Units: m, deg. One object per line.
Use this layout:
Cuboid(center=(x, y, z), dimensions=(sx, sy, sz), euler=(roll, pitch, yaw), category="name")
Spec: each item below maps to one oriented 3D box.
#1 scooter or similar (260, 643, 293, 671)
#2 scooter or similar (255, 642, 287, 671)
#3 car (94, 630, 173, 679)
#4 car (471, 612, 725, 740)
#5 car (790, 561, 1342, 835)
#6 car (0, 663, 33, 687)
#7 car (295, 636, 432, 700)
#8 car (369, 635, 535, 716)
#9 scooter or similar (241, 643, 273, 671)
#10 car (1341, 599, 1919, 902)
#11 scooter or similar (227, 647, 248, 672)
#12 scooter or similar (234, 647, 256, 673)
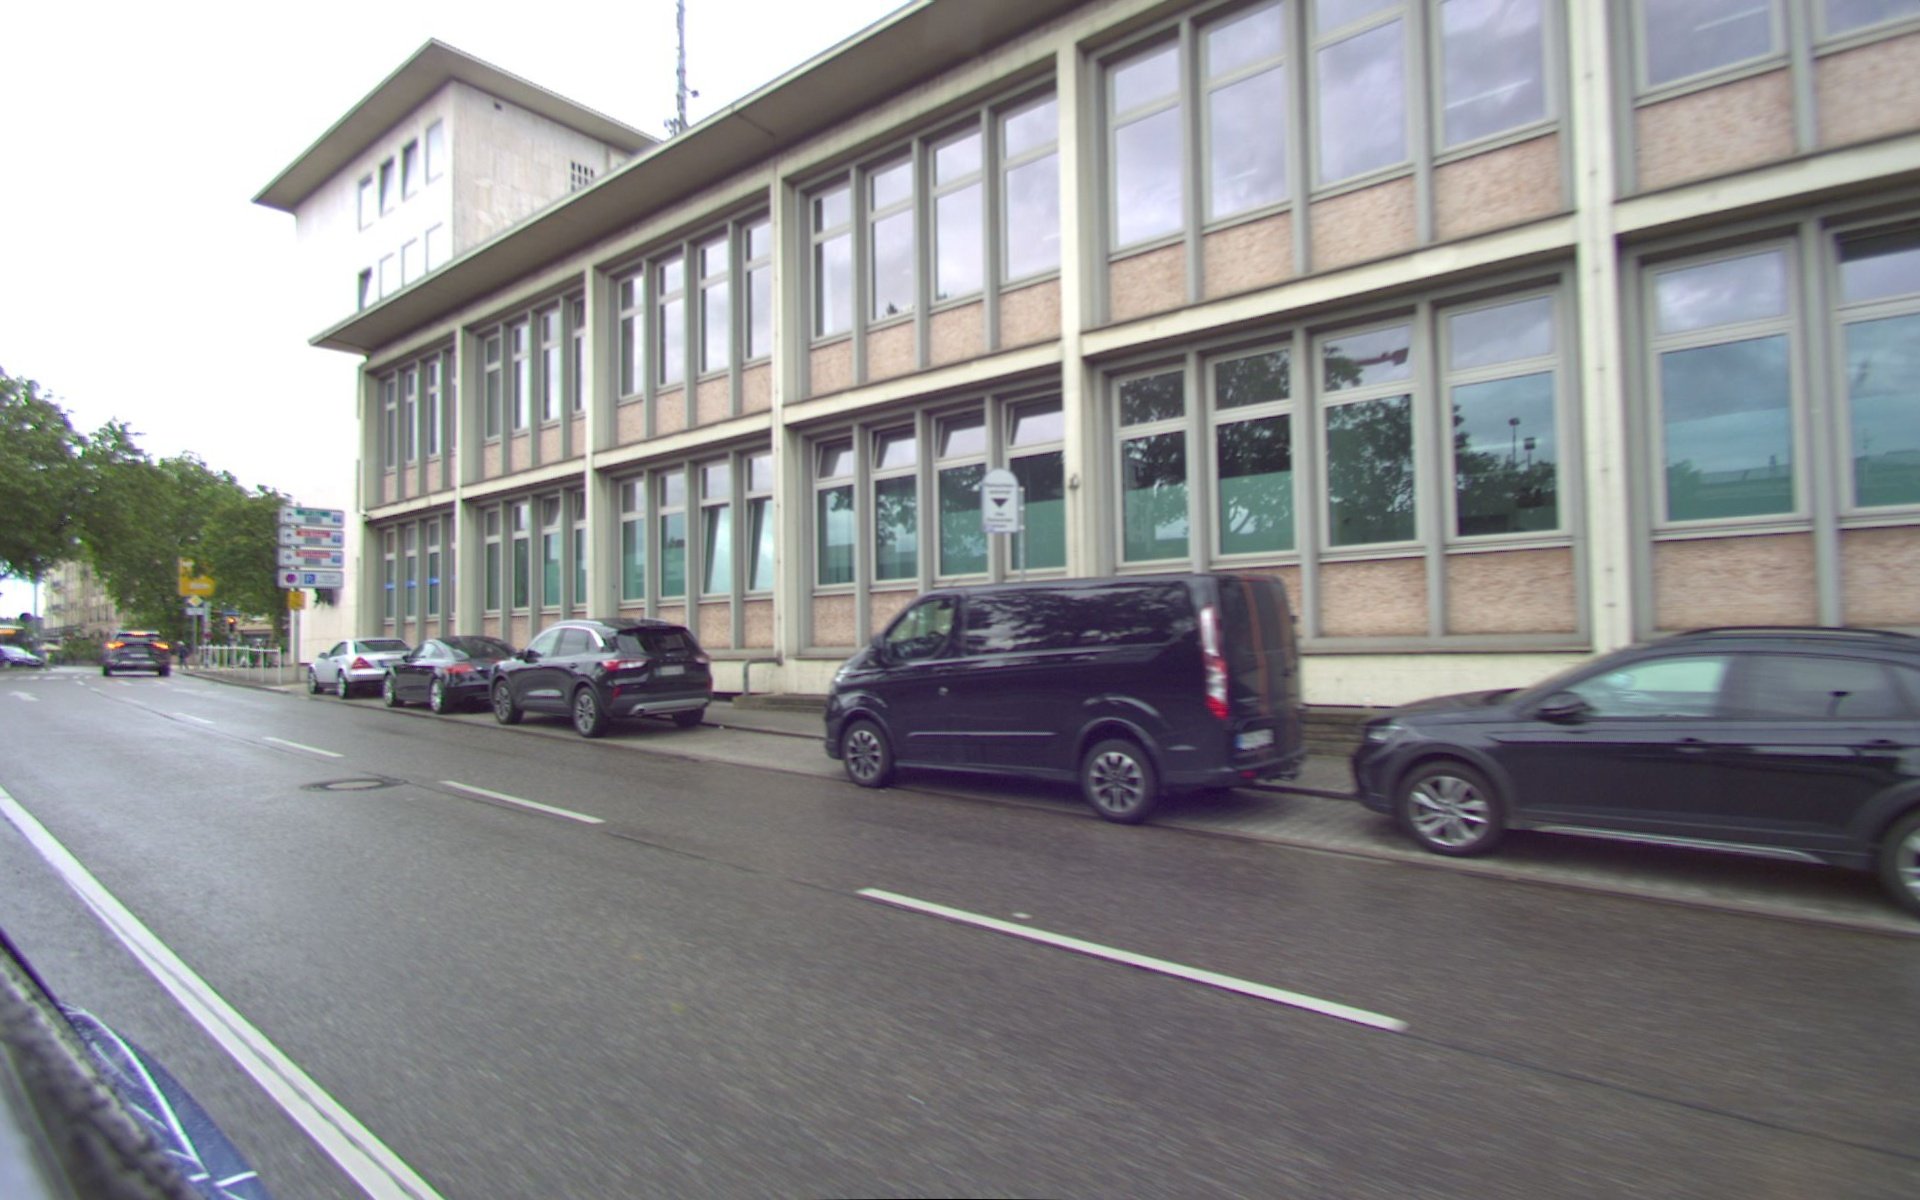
Cuboid(center=(-28.518, 2.387, 42.256), dimensions=(0.599, 1.173, 1.532), euler=(1, -3, -14), category="scooter or similar")
Cuboid(center=(-29.428, 2.407, 43.221), dimensions=(0.599, 1.201, 1.532), euler=(1, -3, -14), category="scooter or similar")
Cuboid(center=(-29.929, 1.964, 36.609), dimensions=(1.800, 1.673, 4.340), euler=(3, -4, -44), category="car")
Cuboid(center=(-5.686, 1.082, 15.589), dimensions=(4.603, 1.688, 1.777), euler=(-2, -3, 43), category="car")
Cuboid(center=(0.768, 0.765, 9.615), dimensions=(4.991, 1.958, 1.929), euler=(-2, -2, 40), category="car")
Cuboid(center=(-58.477, 4.523, 61.413), dimensions=(4.392, 1.420, 1.804), euler=(-2, -4, 27), category="car")
Cuboid(center=(-13.652, 1.504, 23.074), dimensions=(4.094, 1.307, 1.672), euler=(-2, -2, 44), category="car")
Cuboid(center=(-9.668, 1.365, 19.136), dimensions=(4.111, 1.364, 1.525), euler=(-2, -3, 44), category="car")
Cuboid(center=(-30.522, 2.479, 43.974), dimensions=(0.599, 1.201, 1.532), euler=(1, -3, -14), category="scooter or similar")
Cuboid(center=(4.945, 0.821, 6.483), dimensions=(4.311, 1.564, 1.841), euler=(-2, -3, 42), category="car")
Cuboid(center=(-34.290, 2.839, 48.021), dimensions=(1.502, 1.176, 0.483), euler=(-3, -5, 43), category="scooter or similar")
Cuboid(center=(-33.105, 2.769, 46.867), dimensions=(0.563, 1.201, 1.575), euler=(3, -5, -43), category="scooter or similar")
